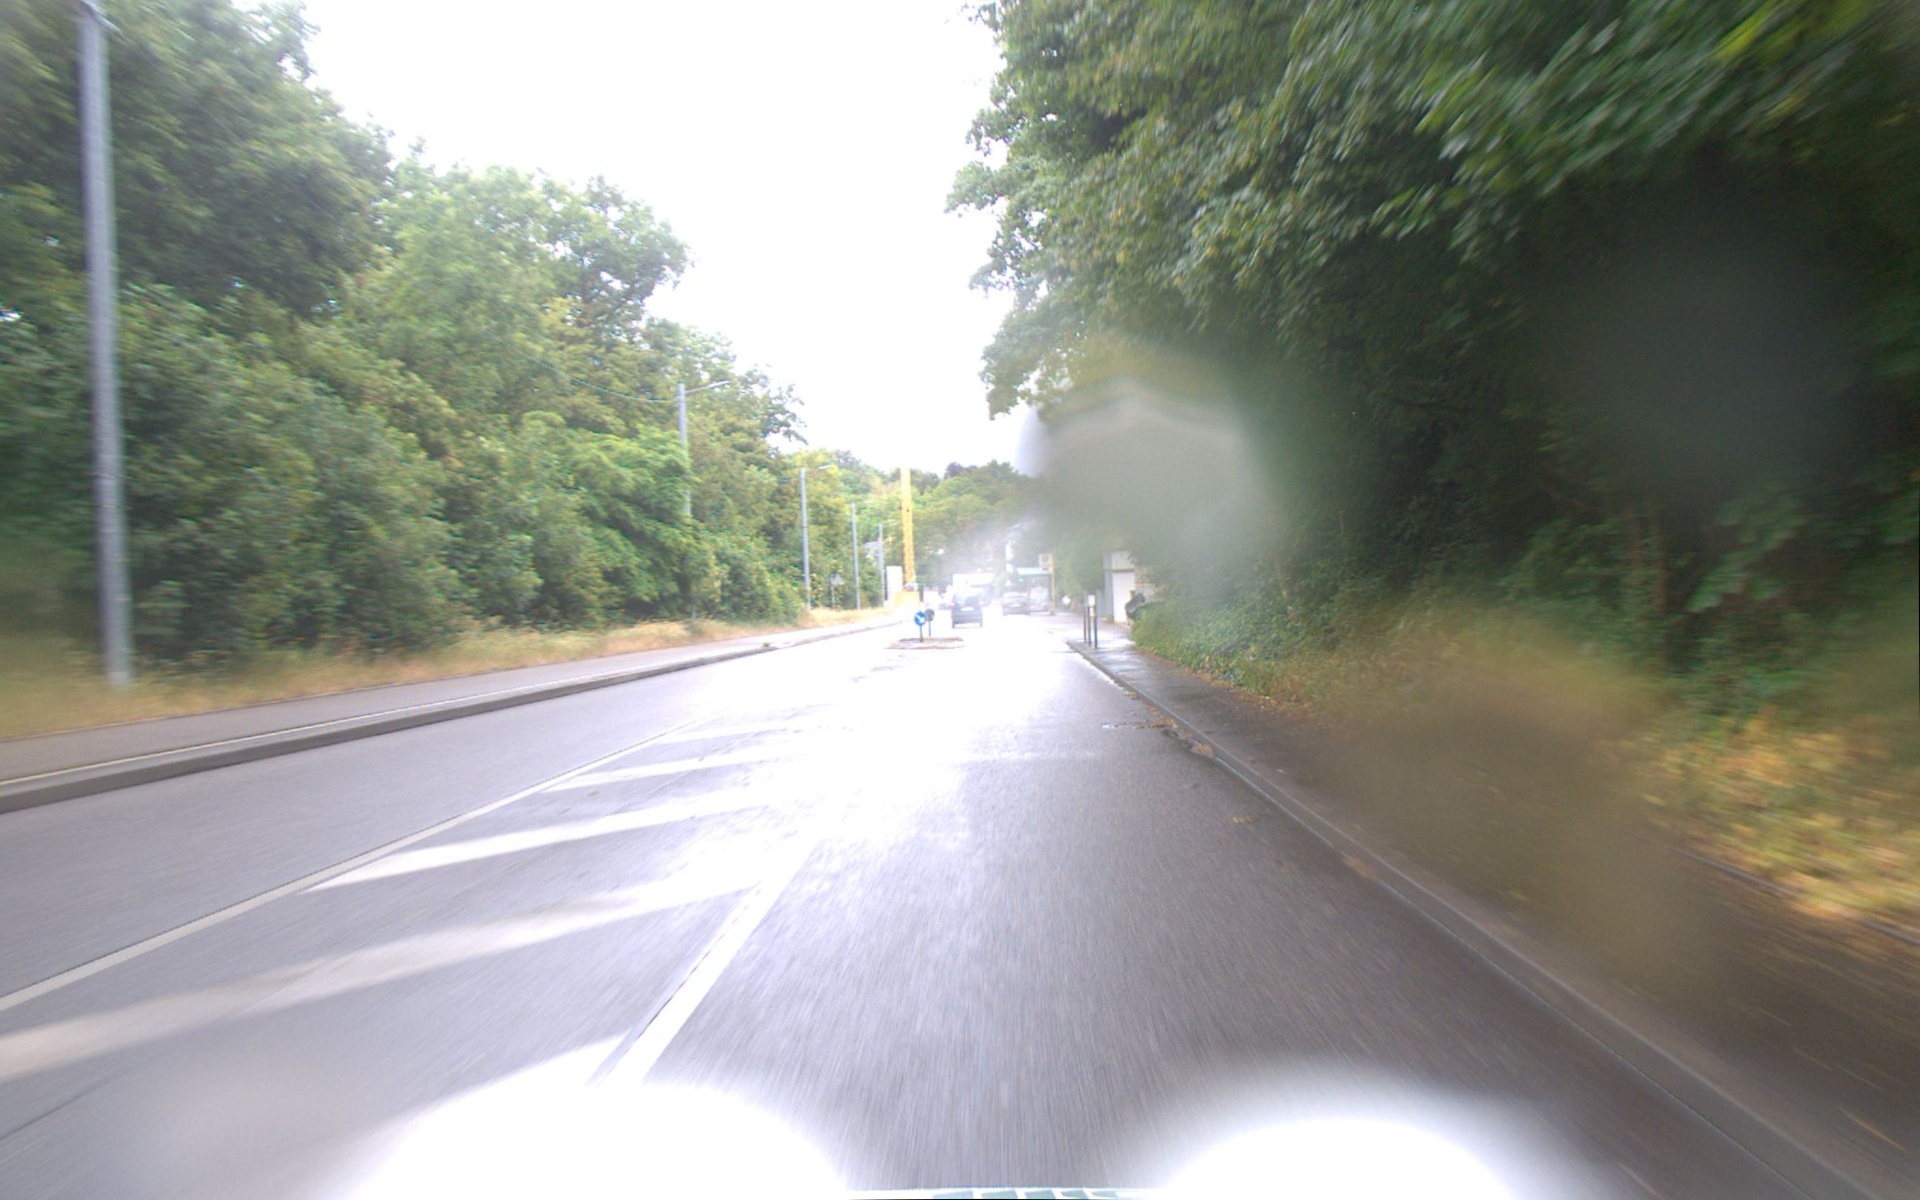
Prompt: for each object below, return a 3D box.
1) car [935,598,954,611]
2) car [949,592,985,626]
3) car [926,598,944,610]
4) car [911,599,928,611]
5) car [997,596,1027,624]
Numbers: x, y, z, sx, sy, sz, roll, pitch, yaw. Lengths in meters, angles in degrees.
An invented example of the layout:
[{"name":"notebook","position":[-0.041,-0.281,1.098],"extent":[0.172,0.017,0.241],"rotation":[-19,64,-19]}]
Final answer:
[{"name":"car","position":[-2.059,0.619,214.734],"extent":[1.709,1.579,3.844],"rotation":[-1,0,-12]},{"name":"car","position":[0.375,0.445,81.466],"extent":[1.633,1.621,3.684],"rotation":[-1,0,2]},{"name":"car","position":[-3.337,0.510,219.988],"extent":[1.709,1.579,3.844],"rotation":[0,0,-12]},{"name":"car","position":[-5.563,0.731,226.939],"extent":[1.709,1.579,3.844],"rotation":[-1,0,-12]},{"name":"car","position":[3.449,0.622,109.731],"extent":[1.952,1.803,4.115],"rotation":[0,0,2]}]
